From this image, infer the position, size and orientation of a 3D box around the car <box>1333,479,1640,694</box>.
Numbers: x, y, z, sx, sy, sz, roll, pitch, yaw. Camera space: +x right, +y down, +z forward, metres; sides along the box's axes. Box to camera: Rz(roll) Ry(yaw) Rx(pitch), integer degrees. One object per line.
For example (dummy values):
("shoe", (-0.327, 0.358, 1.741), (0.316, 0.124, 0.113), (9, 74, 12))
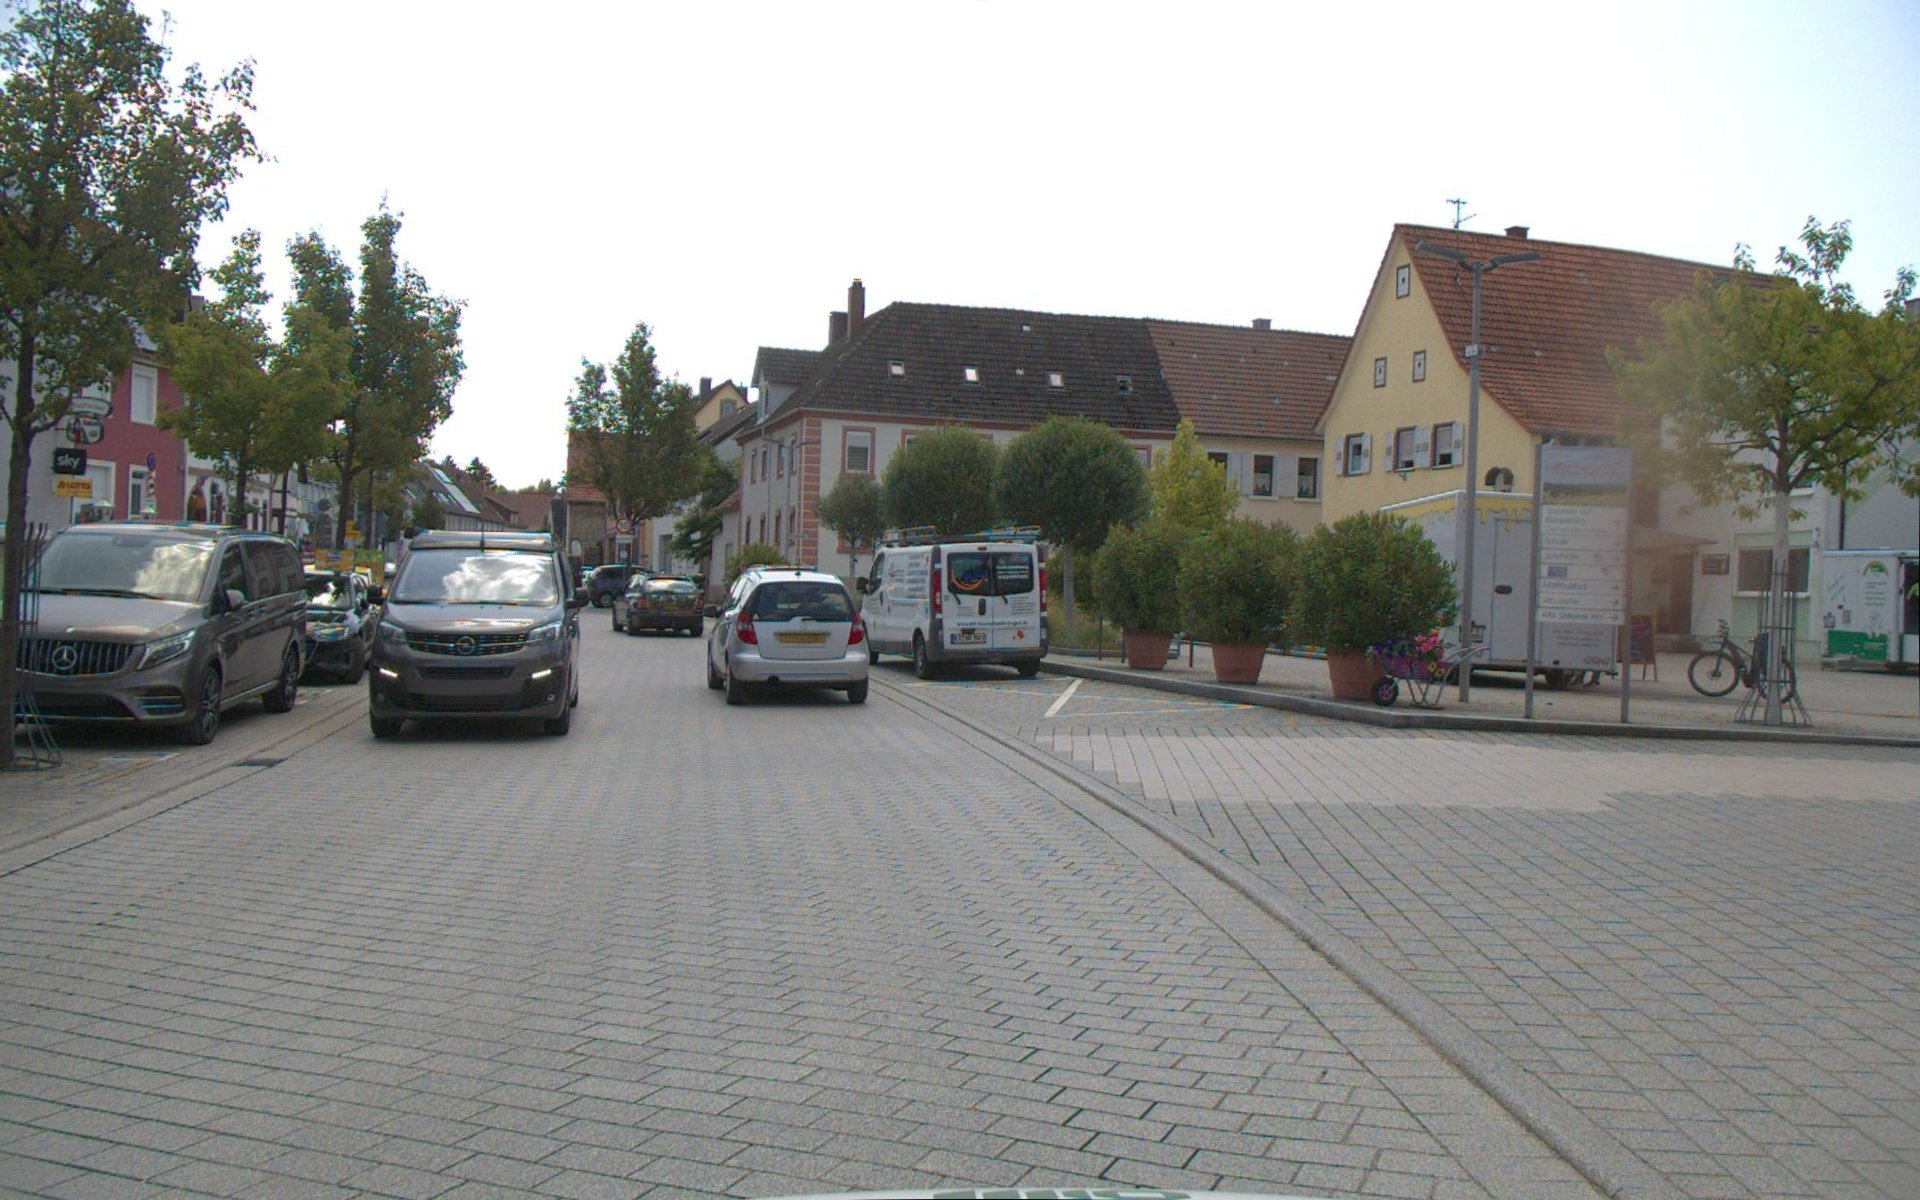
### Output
("car", (8.469, -0.203, 27.654), (2.696, 3.014, 7.112), (2, 0, -1))

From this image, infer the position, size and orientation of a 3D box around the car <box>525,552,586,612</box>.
("car", (-14.424, -0.627, 58.851), (1.741, 1.920, 4.426), (4, -1, -17))

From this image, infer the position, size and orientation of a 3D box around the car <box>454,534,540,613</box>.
("car", (-12.884, -0.744, 45.817), (1.964, 2.048, 4.713), (1, 1, -20))

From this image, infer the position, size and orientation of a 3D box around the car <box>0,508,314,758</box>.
("car", (-7.757, 0.232, 16.078), (1.952, 2.025, 5.028), (2, 1, -13))

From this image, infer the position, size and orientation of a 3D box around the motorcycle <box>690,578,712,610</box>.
("motorcycle", (-9.579, -0.216, 61.162), (0.517, 1.143, 1.060), (1, 1, -25))

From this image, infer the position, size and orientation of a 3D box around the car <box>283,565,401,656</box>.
("car", (-11.102, 0.145, 29.926), (1.641, 1.500, 3.946), (1, 1, -16))

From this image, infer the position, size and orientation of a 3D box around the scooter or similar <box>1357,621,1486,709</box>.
("scooter or similar", (5.027, 0.702, 18.061), (1.120, 0.896, 0.814), (1, 0, -9))

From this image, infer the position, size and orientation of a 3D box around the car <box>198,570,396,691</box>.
("car", (-8.947, 0.346, 22.681), (1.784, 1.448, 4.523), (2, 1, -13))

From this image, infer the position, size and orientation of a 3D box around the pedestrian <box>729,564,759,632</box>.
("pedestrian", (-5.410, -0.053, 41.375), (0.628, 1.657, 0.618), (1, 0, -16))

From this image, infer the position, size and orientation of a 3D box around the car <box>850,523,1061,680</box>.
("car", (-0.205, -0.039, 26.030), (1.912, 2.215, 5.076), (-1, 1, -18))

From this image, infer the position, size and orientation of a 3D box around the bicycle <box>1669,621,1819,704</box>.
("bicycle", (11.518, 0.905, 24.383), (0.742, 1.087, 2.101), (2, 1, -18))

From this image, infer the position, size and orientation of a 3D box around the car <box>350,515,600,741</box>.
("car", (-4.950, 0.221, 17.519), (1.957, 2.048, 4.729), (1, 1, -10))

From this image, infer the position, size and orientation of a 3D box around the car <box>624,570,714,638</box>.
("car", (-6.848, 0.059, 38.690), (1.911, 1.432, 3.988), (2, 1, -12))

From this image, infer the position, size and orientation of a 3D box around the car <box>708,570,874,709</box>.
("car", (-2.287, 0.431, 21.519), (1.738, 1.622, 3.988), (0, 1, -12))

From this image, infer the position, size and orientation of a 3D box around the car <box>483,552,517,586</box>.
("car", (-26.180, -1.745, 94.040), (1.614, 1.881, 3.585), (0, 0, -20))

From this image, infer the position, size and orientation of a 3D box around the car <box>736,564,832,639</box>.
("car", (-4.053, 0.000, 37.565), (1.737, 1.592, 4.406), (1, 1, -12))

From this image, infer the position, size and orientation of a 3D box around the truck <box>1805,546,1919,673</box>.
("truck", (21.977, 0.258, 35.109), (6.672, 2.541, 2.954), (2, 1, -7))
